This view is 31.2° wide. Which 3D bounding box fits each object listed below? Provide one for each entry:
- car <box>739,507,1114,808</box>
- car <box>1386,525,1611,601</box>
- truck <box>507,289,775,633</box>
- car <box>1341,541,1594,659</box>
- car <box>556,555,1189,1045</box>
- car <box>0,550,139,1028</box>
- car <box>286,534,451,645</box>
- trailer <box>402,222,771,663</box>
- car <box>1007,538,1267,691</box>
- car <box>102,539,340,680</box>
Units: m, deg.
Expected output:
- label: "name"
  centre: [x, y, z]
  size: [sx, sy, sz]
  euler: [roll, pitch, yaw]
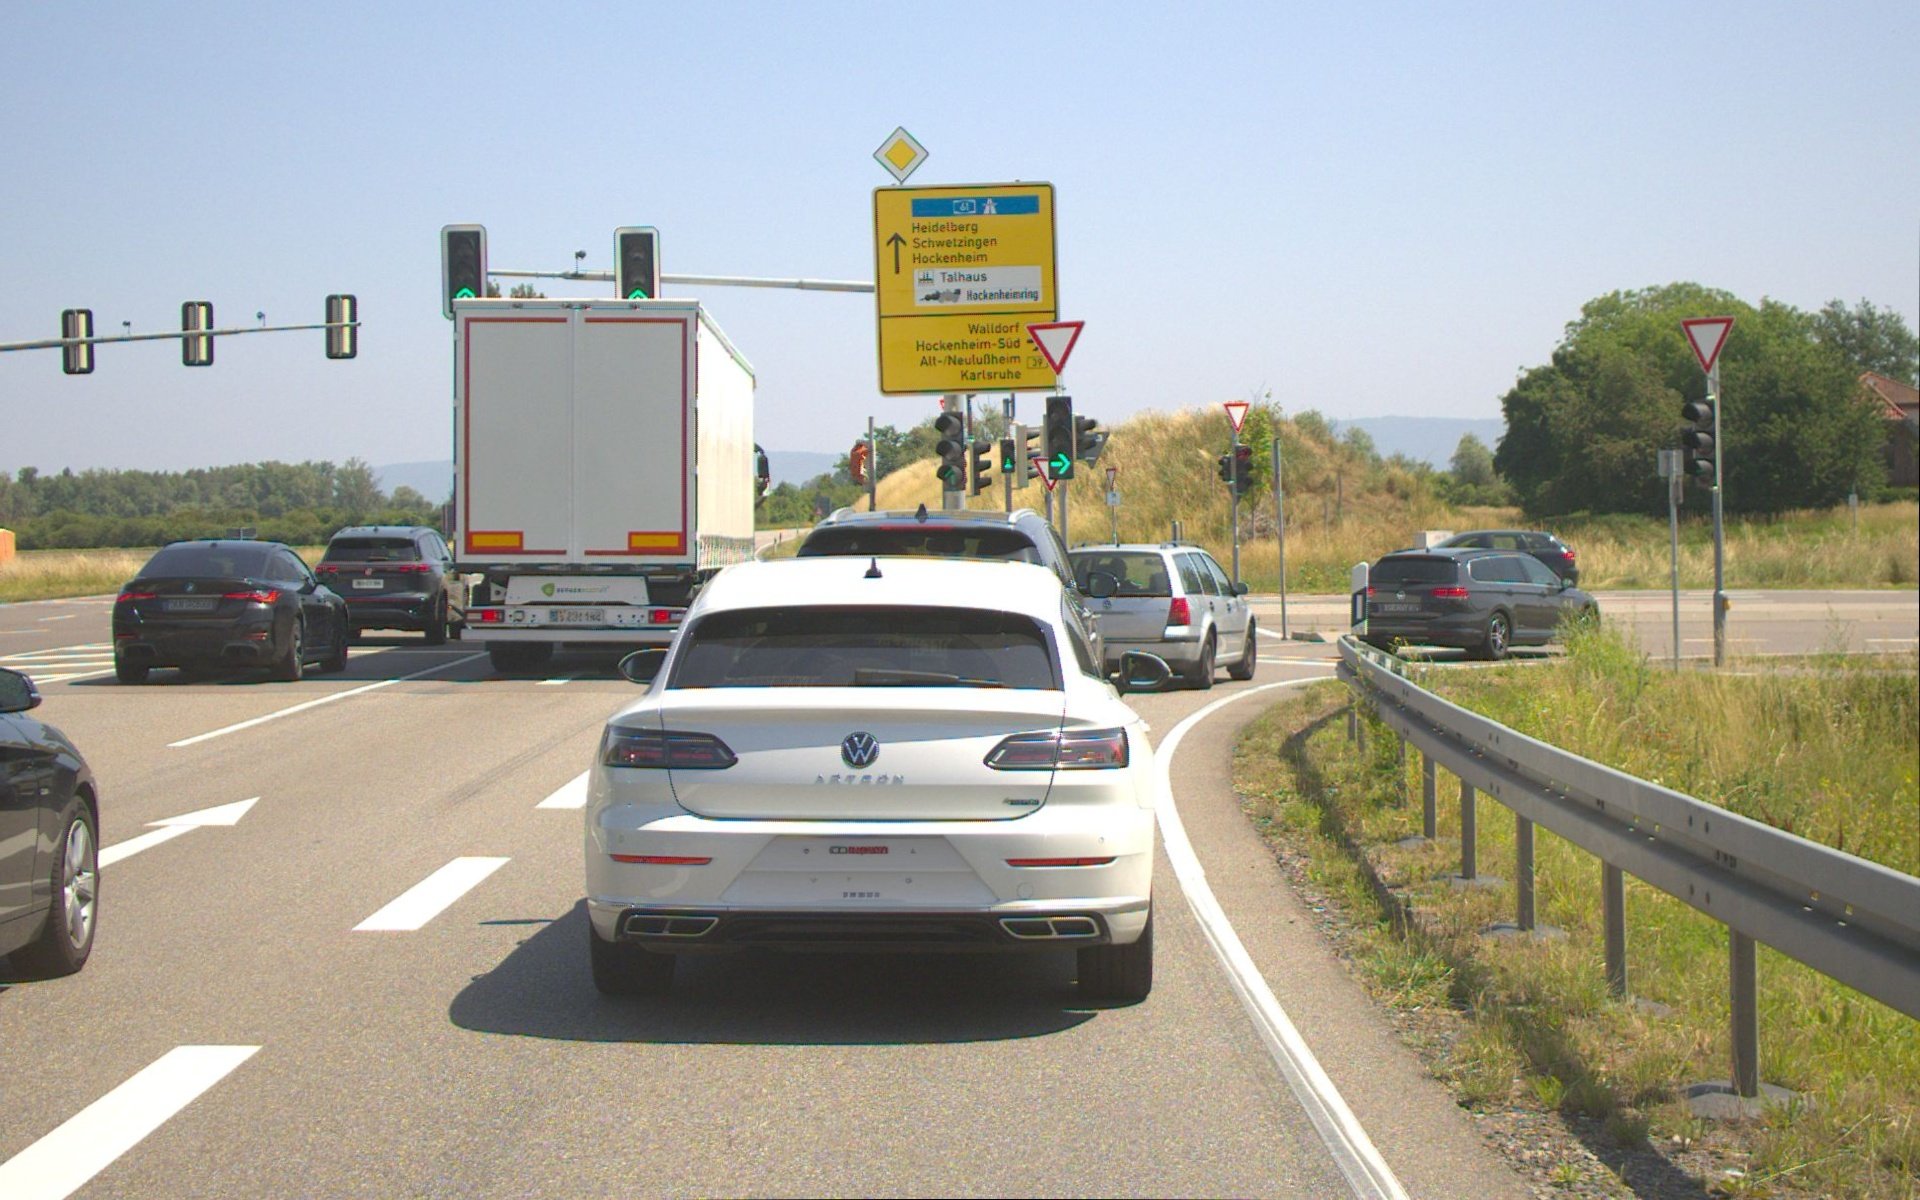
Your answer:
- label: "car"
  centre: [-0.087, 0.278, 20.686]
  size: [1.935, 1.611, 4.378]
  euler: [0, 1, 4]
- label: "car"
  centre: [10.744, -0.752, 68.811]
  size: [4.260, 1.364, 1.776]
  euler: [-1, 2, 3]
- label: "truck"
  centre: [-4.390, -1.895, 48.637]
  size: [3.381, 4.527, 6.373]
  euler: [0, 1, -2]
- label: "car"
  centre: [6.776, -0.030, 45.506]
  size: [1.803, 1.471, 4.407]
  euler: [1, 1, 30]
- label: "car"
  centre: [-0.283, 0.556, 12.347]
  size: [1.848, 1.428, 4.608]
  euler: [0, 1, -1]
- label: "car"
  centre: [-3.800, 0.585, 10.175]
  size: [1.784, 1.426, 4.381]
  euler: [1, 1, -1]
- label: "car"
  centre: [-8.337, -0.176, 48.722]
  size: [1.809, 1.488, 4.022]
  euler: [0, 1, -3]
- label: "trailer"
  centre: [-4.212, -1.743, 41.922]
  size: [3.381, 4.527, 12.873]
  euler: [0, 1, -1]
- label: "car"
  centre: [1.834, 0.106, 34.419]
  size: [1.801, 1.424, 4.090]
  euler: [0, 1, 15]
- label: "car"
  centre: [-7.767, 0.066, 36.461]
  size: [1.809, 1.393, 4.022]
  euler: [0, 1, -3]
